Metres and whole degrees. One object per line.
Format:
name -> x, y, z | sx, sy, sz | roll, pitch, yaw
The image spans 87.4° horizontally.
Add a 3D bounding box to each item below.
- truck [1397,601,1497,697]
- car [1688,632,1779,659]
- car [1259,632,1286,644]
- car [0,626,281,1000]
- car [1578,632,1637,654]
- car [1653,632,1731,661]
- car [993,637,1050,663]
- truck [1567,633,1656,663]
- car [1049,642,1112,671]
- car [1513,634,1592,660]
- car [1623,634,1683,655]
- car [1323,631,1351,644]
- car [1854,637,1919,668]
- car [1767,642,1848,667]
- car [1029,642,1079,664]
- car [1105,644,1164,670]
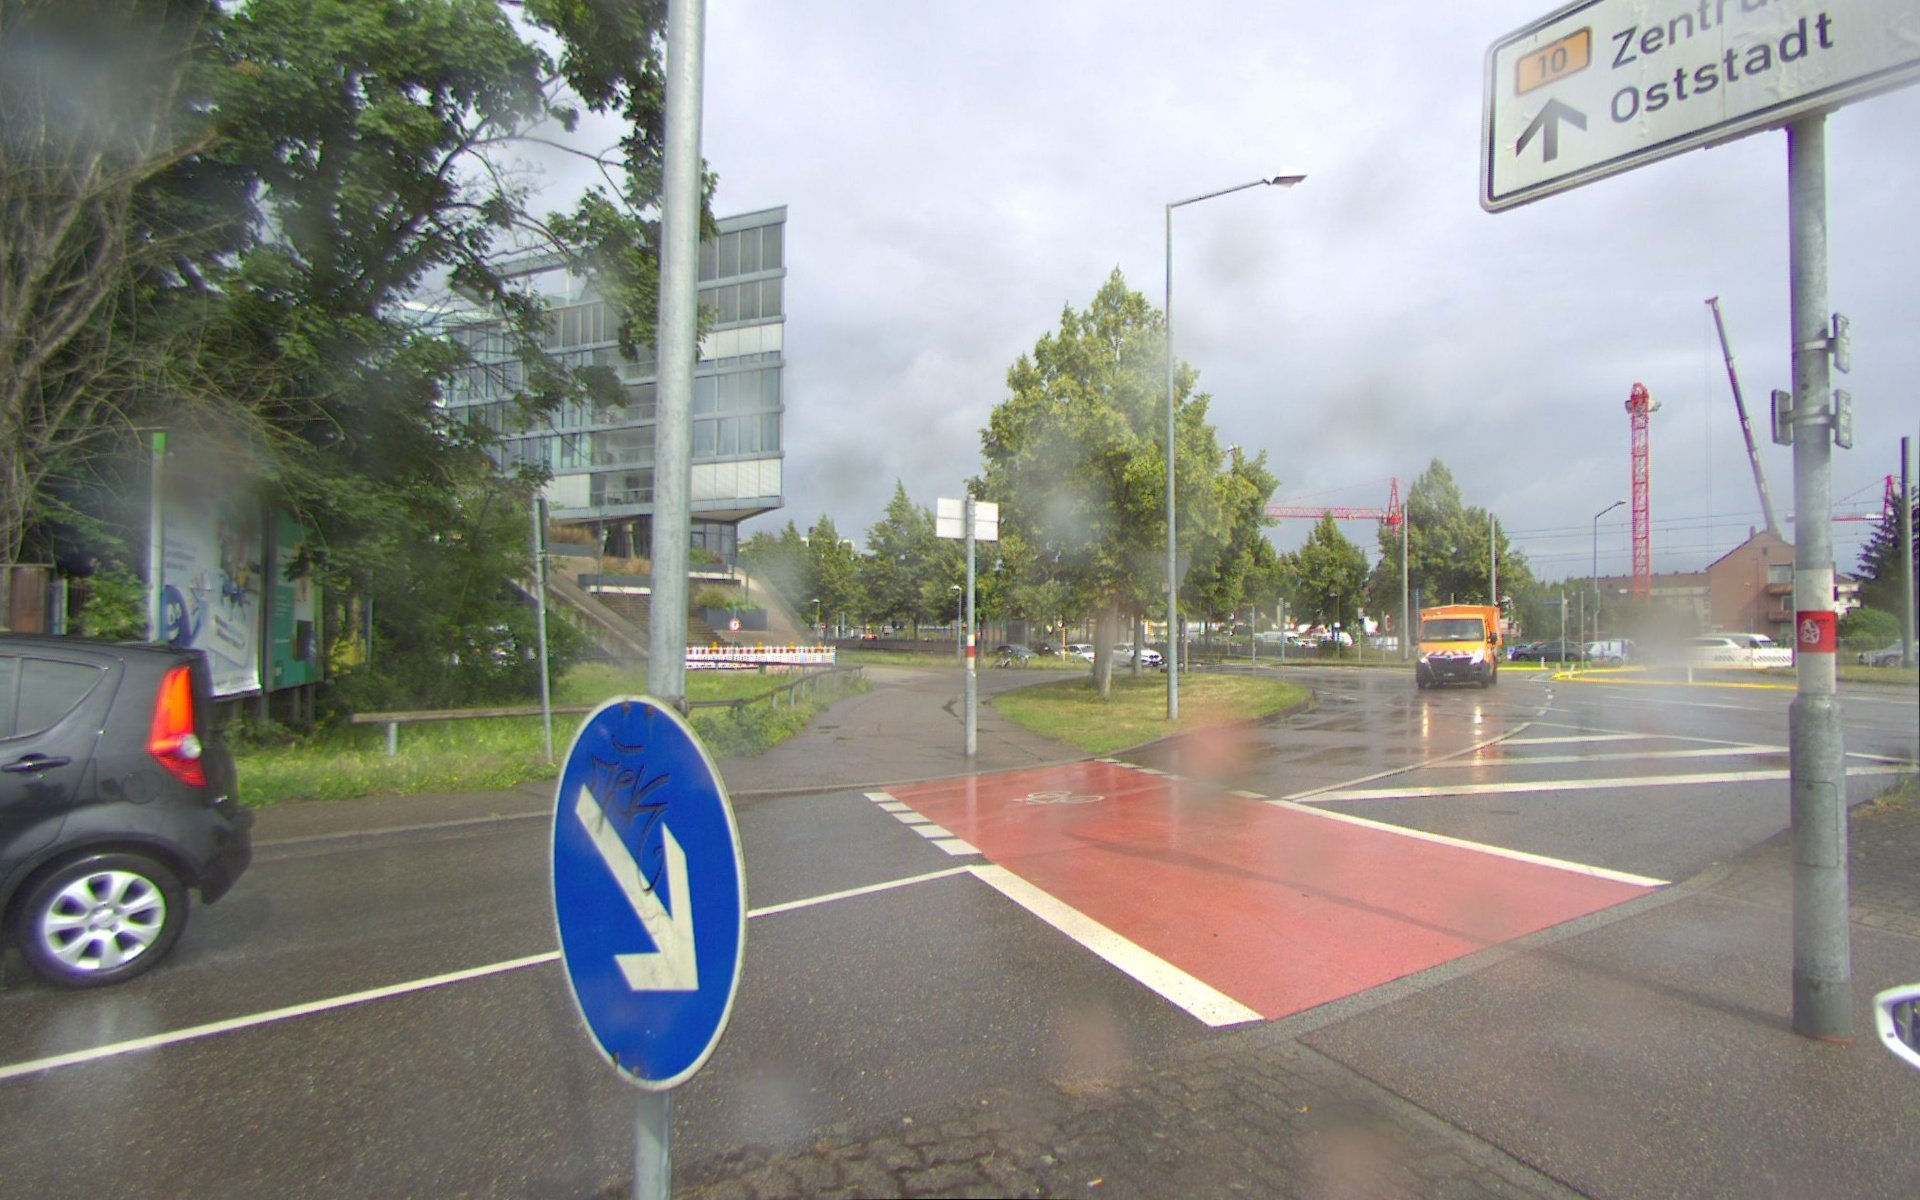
truck -> 15.915, 1.530, 32.568 | 2.418, 2.762, 6.933 | -1, -2, 30
car -> 67.814, 3.963, 88.217 | 2.012, 2.113, 6.235 | 2, 0, -20
car -> 43.644, 5.324, 140.348 | 1.531, 1.581, 3.475 | 1, -2, -28
car -> -5.088, 0.920, 4.363 | 3.428, 1.553, 1.615 | 1, -3, -39
car -> 57.610, 3.830, 89.449 | 1.835, 1.723, 3.970 | 2, -1, -28
car -> 41.422, 2.613, 56.907 | 3.439, 1.530, 1.497 | -1, -1, 32
car -> 4.194, 3.427, 68.911 | 1.844, 1.693, 4.438 | 1, -4, -29
truck -> 54.294, 3.966, 83.909 | 2.361, 2.241, 6.074 | 2, 0, -19
car -> 7.457, 3.519, 62.637 | 1.841, 1.693, 4.446 | 1, -3, -24
car -> 36.022, 2.855, 61.107 | 3.937, 1.537, 1.796 | -2, -2, 37
car -> 60.586, 3.896, 87.881 | 1.903, 1.723, 3.976 | 2, -1, -24
car -> 52.669, 5.280, 140.451 | 1.482, 1.745, 3.572 | 1, -2, -30
car -> 49.966, 2.791, 53.155 | 3.604, 1.581, 1.575 | 0, -1, 15
car -> 59.904, 3.848, 71.027 | 3.919, 1.706, 2.001 | 0, -2, 5
car -> 6.636, 3.743, 71.314 | 1.704, 1.528, 3.879 | 1, -2, -27
car -> 10.904, 3.550, 63.065 | 1.704, 1.528, 3.879 | 1, -2, -27
